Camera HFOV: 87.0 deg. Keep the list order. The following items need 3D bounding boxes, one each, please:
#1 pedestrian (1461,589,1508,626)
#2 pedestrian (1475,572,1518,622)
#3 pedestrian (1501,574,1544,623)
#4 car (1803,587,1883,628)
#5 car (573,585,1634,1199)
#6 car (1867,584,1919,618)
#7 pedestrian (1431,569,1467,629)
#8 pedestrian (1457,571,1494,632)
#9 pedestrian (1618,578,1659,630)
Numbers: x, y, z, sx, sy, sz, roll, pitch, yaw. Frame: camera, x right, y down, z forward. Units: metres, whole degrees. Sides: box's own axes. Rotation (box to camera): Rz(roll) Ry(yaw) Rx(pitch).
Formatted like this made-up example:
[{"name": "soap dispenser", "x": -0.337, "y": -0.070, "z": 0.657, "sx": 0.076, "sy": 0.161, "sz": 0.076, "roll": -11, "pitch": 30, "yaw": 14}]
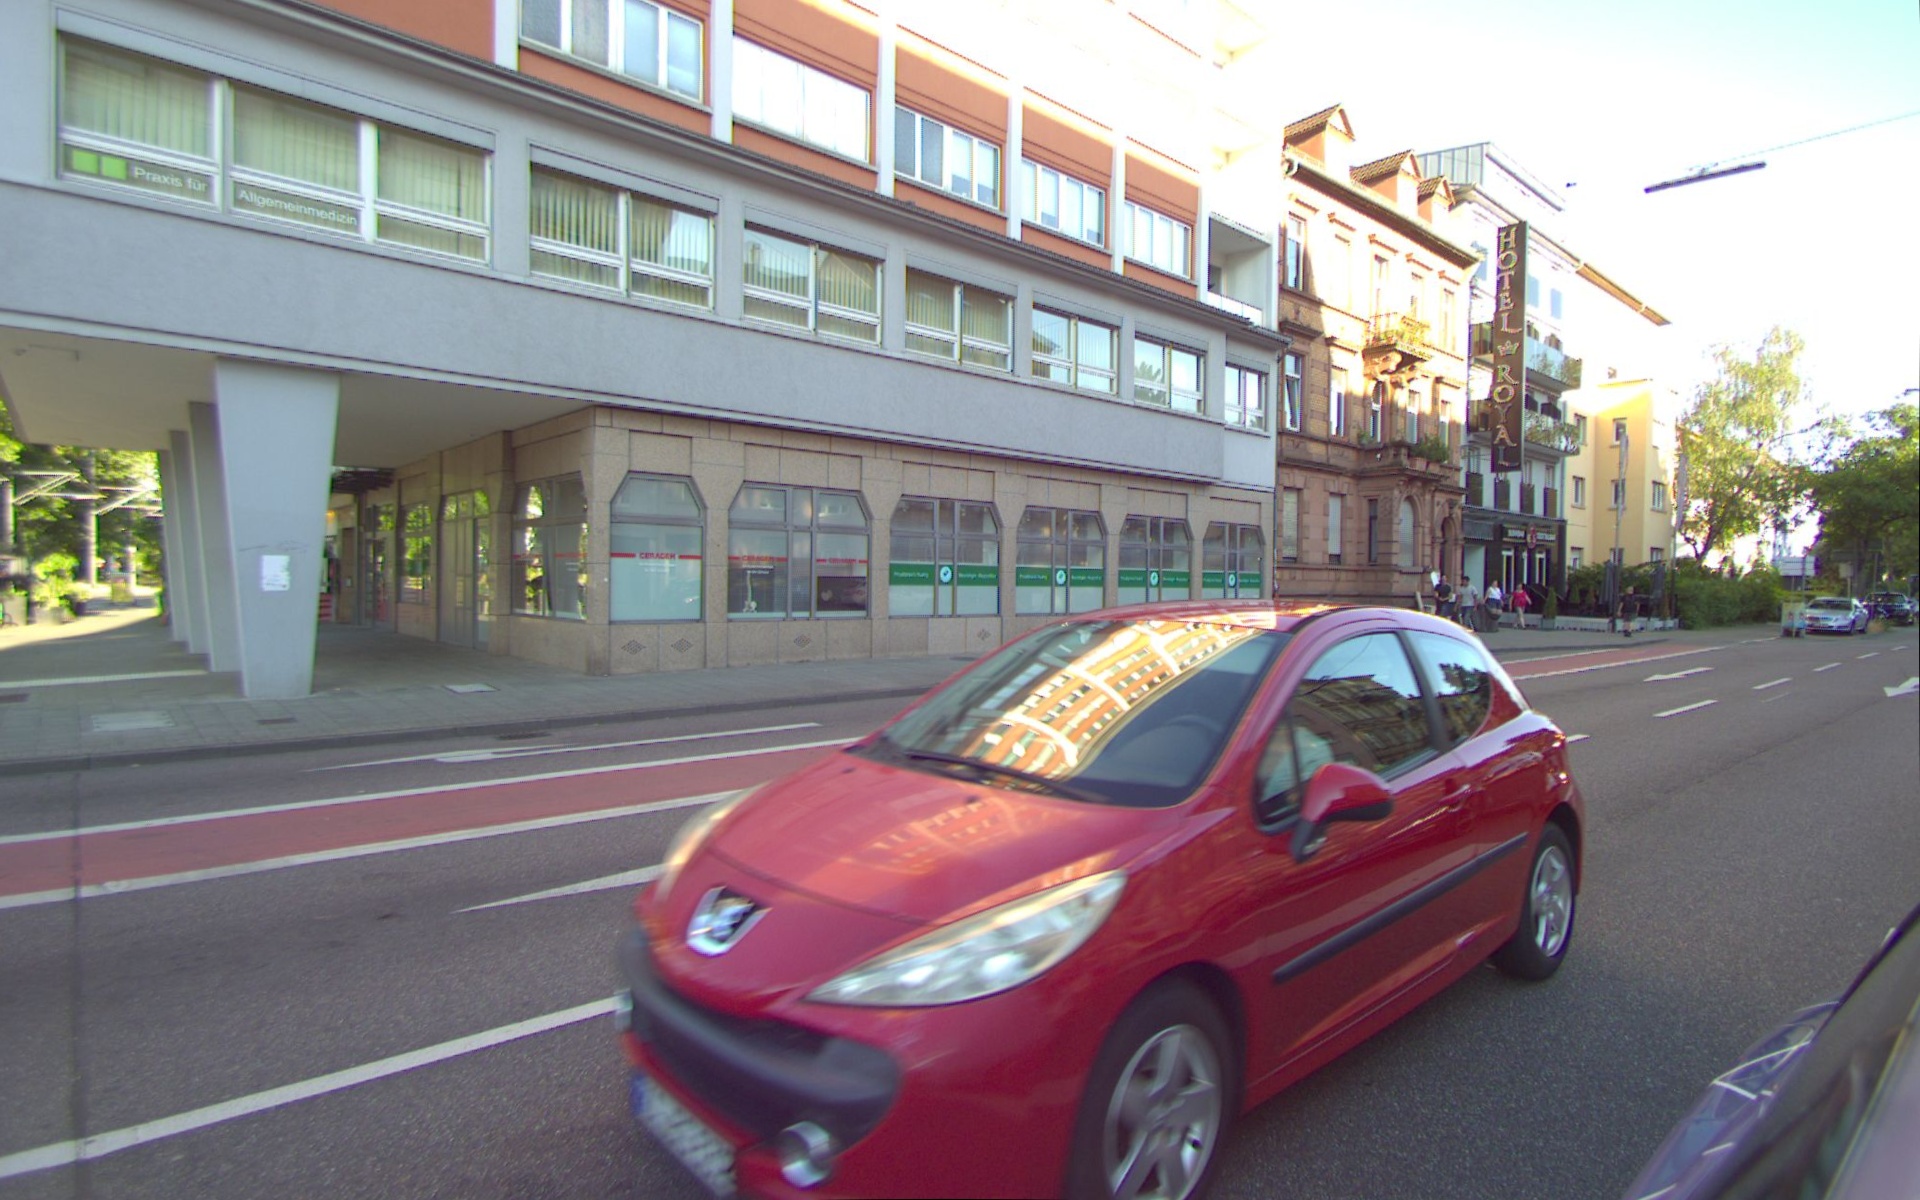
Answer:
[{"name": "pedestrian", "x": 16.932, "y": 0.223, "z": 32.695, "sx": 0.909, "sy": 1.150, "sz": 1.099, "roll": 0, "pitch": 1, "yaw": -43}, {"name": "pedestrian", "x": 18.622, "y": -0.105, "z": 35.147, "sx": 0.771, "sy": 1.606, "sz": 1.013, "roll": 3, "pitch": 4, "yaw": -7}, {"name": "pedestrian", "x": 19.481, "y": -0.065, "z": 35.070, "sx": 0.724, "sy": 1.606, "sz": 1.013, "roll": 3, "pitch": 4, "yaw": -6}, {"name": "car", "x": 35.863, "y": 0.284, "z": 41.085, "sx": 4.003, "sy": 1.536, "sz": 1.905, "roll": 0, "pitch": 1, "yaw": -41}, {"name": "car", "x": 0.863, "y": 0.693, "z": 3.688, "sx": 3.930, "sy": 1.481, "sz": 1.673, "roll": -1, "pitch": 0, "yaw": -41}, {"name": "car", "x": 47.569, "y": 0.014, "z": 51.280, "sx": 4.121, "sy": 1.645, "sz": 1.946, "roll": 0, "pitch": 1, "yaw": -41}, {"name": "pedestrian", "x": 14.563, "y": -0.030, "z": 30.135, "sx": 0.666, "sy": 1.747, "sz": 0.995, "roll": 2, "pitch": 1, "yaw": 43}, {"name": "pedestrian", "x": 15.024, "y": 0.044, "z": 29.493, "sx": 0.994, "sy": 1.747, "sz": 0.667, "roll": 0, "pitch": 1, "yaw": -43}, {"name": "pedestrian", "x": 22.011, "y": 0.115, "z": 32.833, "sx": 0.992, "sy": 1.621, "sz": 0.739, "roll": 0, "pitch": 4, "yaw": -37}]
